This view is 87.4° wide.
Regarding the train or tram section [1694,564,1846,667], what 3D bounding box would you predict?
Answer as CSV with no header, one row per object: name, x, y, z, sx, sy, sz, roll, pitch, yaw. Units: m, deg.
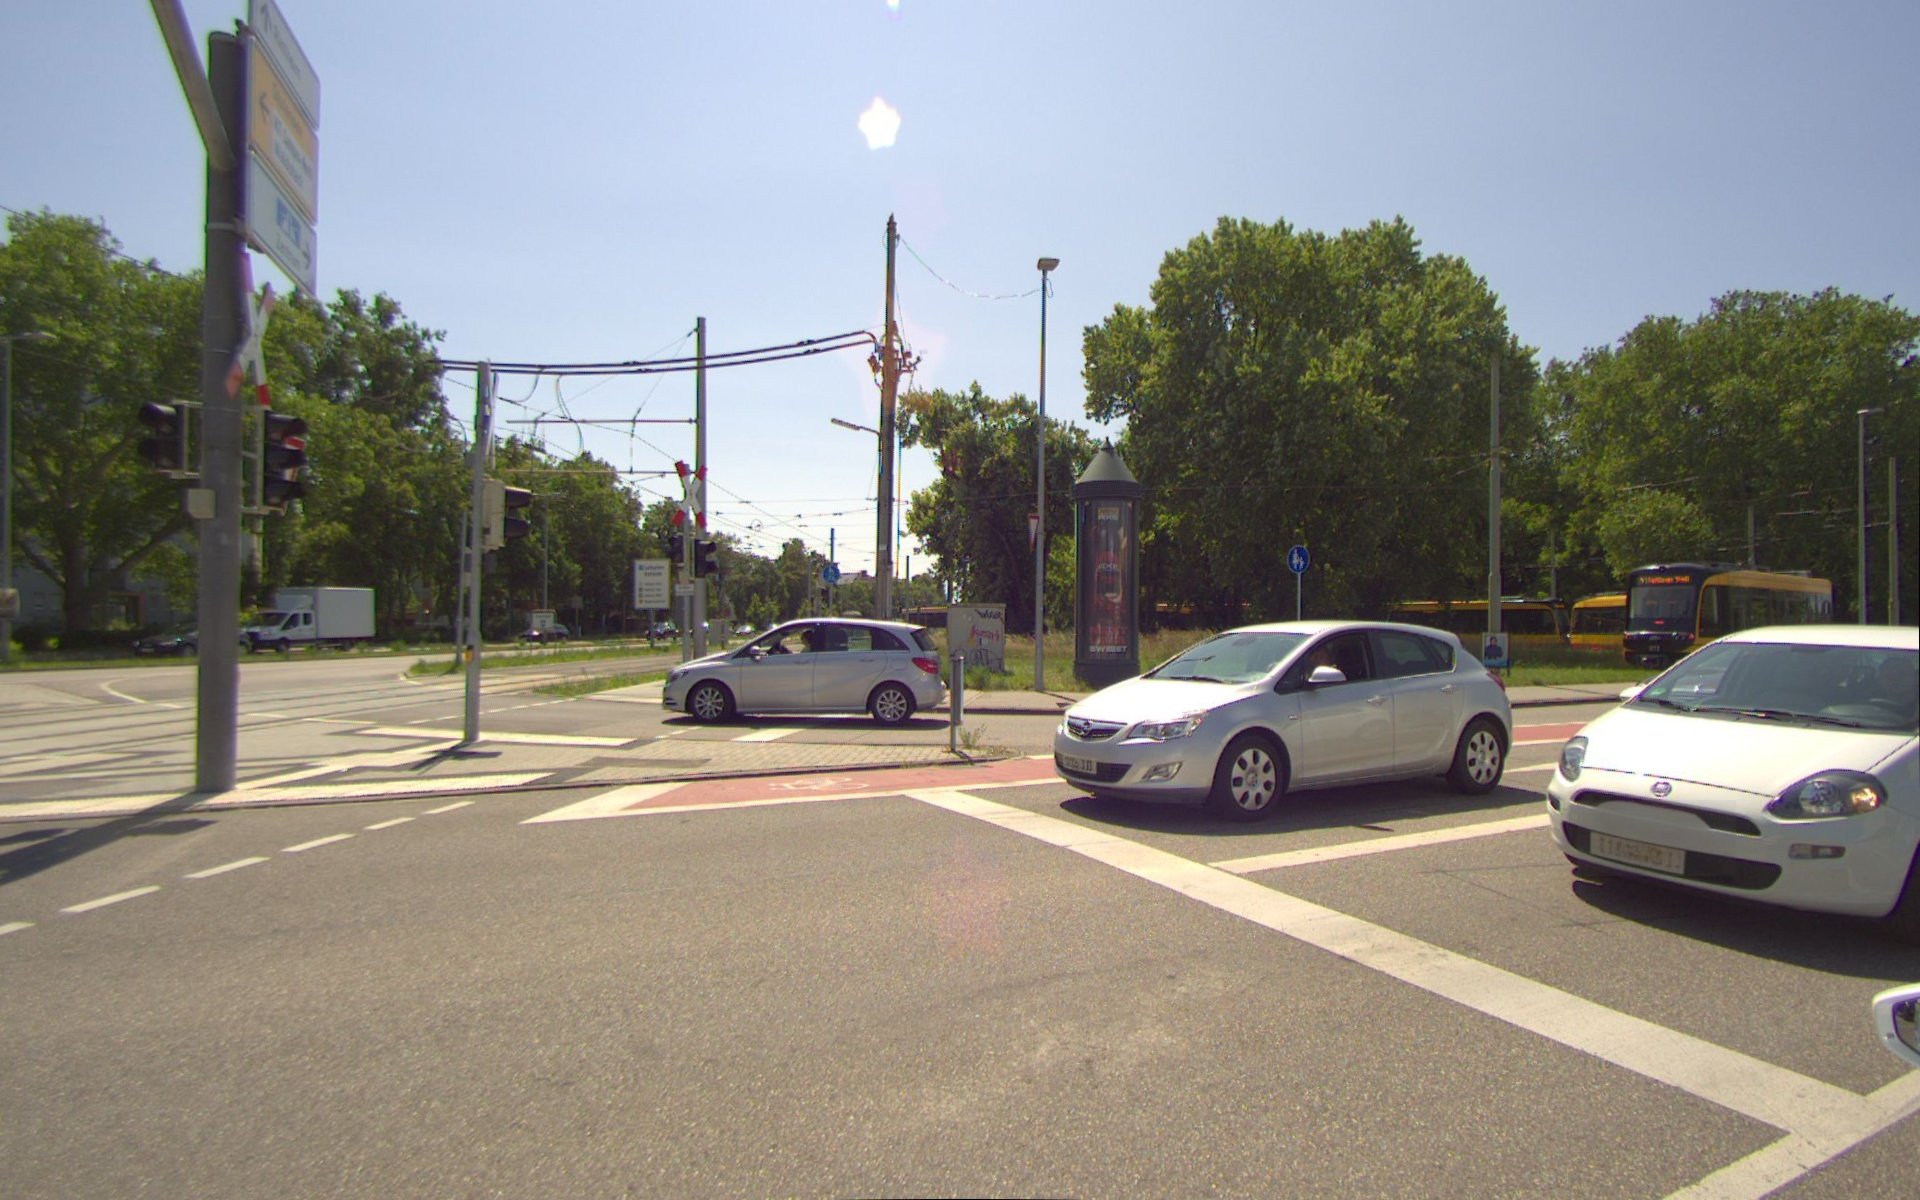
train or tram section,34.192,0.803,42.944,2.972,3.808,11.599,-2,-3,29

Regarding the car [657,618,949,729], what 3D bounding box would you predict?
car,-2.274,1.087,15.367,4.174,1.566,1.747,1,-1,-1

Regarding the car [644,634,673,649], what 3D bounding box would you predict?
car,-28.133,3.885,93.700,1.573,1.303,3.646,-2,-1,0

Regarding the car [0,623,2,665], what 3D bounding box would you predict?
car,-34.161,1.473,32.706,1.812,1.444,4.217,-1,-1,3

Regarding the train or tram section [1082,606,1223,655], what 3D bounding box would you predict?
train or tram section,15.972,2.644,84.013,11.247,3.808,3.018,-2,-3,33

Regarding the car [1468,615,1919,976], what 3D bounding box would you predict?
car,4.999,0.854,5.897,3.914,1.457,1.759,1,0,-30

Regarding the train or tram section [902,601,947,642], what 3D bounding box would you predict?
train or tram section,-4.172,2.586,114.237,2.973,4.310,12.725,0,-2,-12

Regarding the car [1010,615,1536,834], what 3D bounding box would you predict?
car,2.745,0.906,8.608,4.358,1.475,1.784,1,-2,-28

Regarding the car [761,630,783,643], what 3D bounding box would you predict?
car,-27.138,5.249,145.078,1.960,1.754,4.003,-2,-1,6

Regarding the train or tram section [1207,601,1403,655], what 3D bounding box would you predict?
train or tram section,26.040,2.255,76.740,13.977,3.808,3.013,-3,-3,39

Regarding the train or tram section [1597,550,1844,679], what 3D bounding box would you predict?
train or tram section,26.525,0.565,34.647,12.864,3.808,2.997,1,-3,-35

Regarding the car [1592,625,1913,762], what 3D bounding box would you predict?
car,10.049,1.061,12.684,4.235,1.476,1.752,1,-2,-30

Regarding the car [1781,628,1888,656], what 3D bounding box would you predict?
car,49.031,2.341,56.440,1.641,1.436,4.294,2,-2,-19

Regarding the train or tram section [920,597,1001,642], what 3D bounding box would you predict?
train or tram section,-0.141,2.112,102.722,2.986,4.310,12.669,0,-3,-26

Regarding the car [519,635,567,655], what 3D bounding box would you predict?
car,-30.669,3.282,73.986,1.849,1.303,4.001,-2,-1,0

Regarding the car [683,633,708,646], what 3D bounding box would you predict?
car,-28.032,4.193,106.563,1.573,1.303,3.646,-2,-1,0

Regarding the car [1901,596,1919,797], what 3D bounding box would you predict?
car,10.799,0.866,9.223,4.772,1.746,1.804,1,-1,-29

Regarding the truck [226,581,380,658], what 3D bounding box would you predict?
truck,-33.567,1.040,51.774,2.537,3.579,7.715,-2,-1,2

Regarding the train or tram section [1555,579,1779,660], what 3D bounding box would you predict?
train or tram section,37.533,1.194,54.472,2.965,3.808,14.057,-1,-2,4

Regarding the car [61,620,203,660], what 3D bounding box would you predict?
car,-29.501,1.406,35.958,1.712,1.303,4.001,-2,-1,0

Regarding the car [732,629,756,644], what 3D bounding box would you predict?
car,-27.423,4.655,127.542,1.960,1.754,4.002,-2,-1,3

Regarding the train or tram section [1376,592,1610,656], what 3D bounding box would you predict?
train or tram section,34.823,1.725,66.780,2.993,3.808,14.071,1,-3,-32
